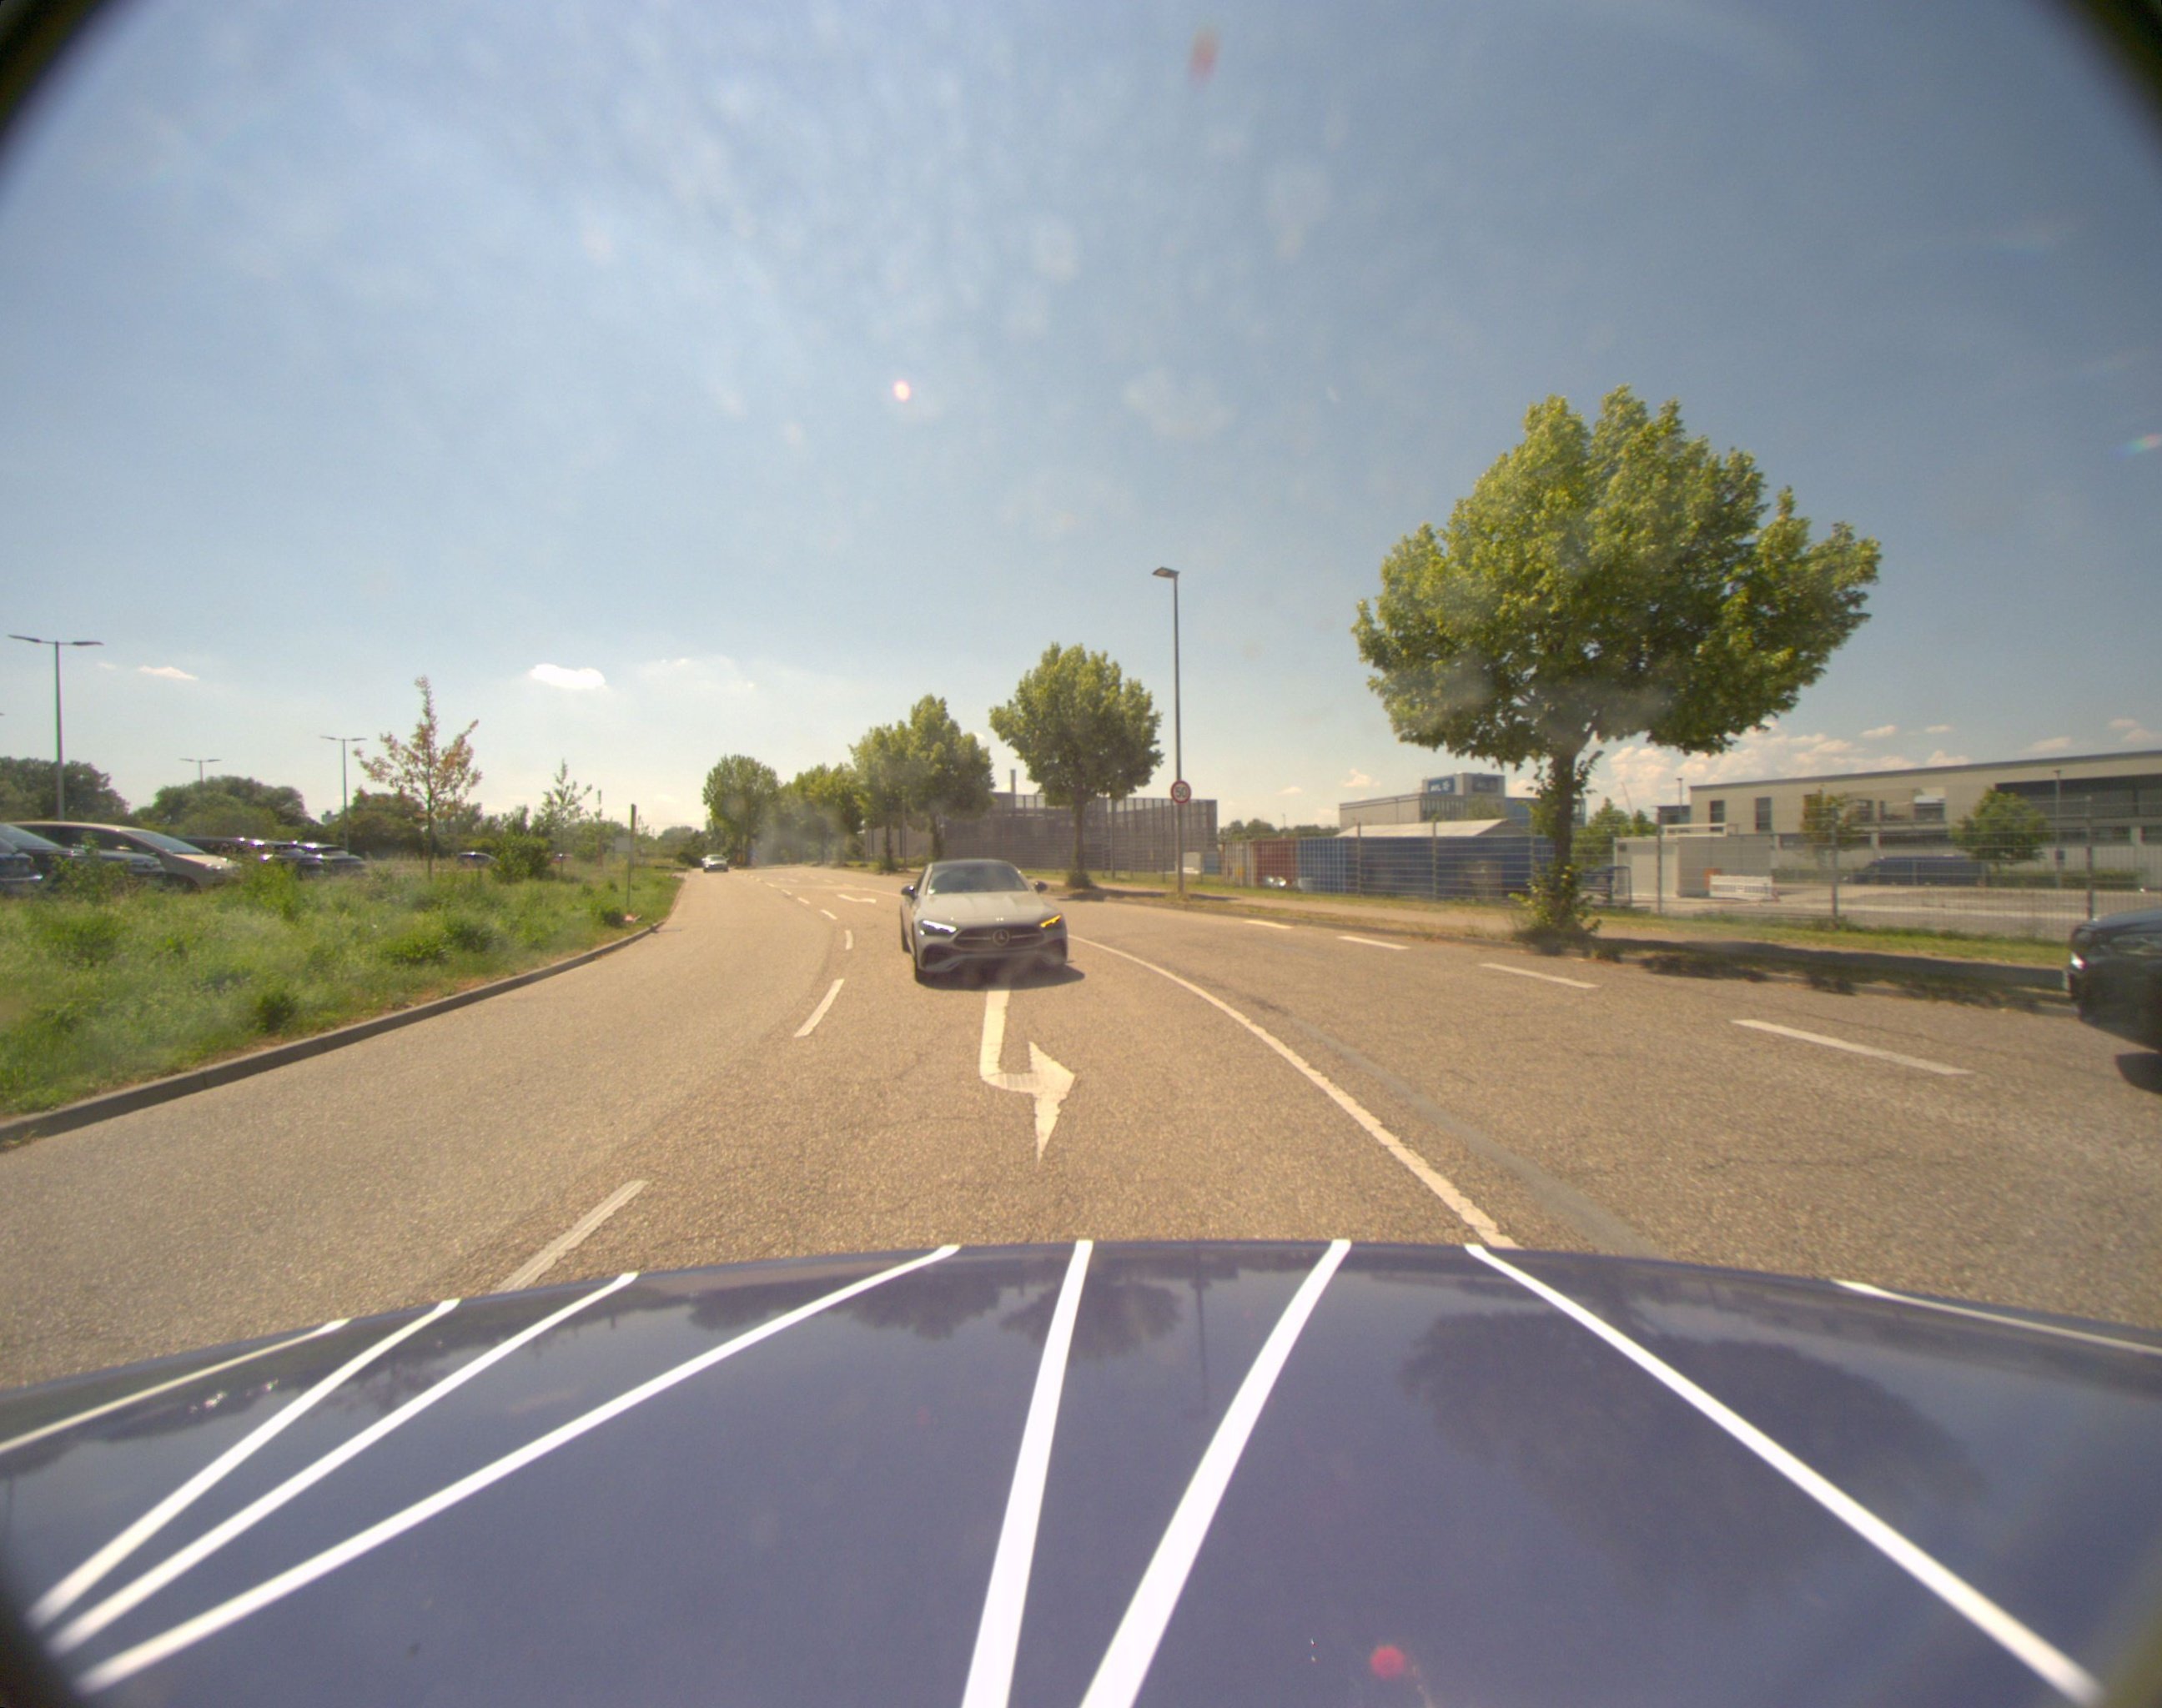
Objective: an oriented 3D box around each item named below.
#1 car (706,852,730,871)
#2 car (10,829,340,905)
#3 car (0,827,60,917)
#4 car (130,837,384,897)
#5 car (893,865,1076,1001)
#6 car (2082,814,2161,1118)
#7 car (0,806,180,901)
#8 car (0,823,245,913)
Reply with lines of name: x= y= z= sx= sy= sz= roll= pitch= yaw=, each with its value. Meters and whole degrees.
car: x=-29.788 y=0.590 z=62.309 sx=1.676 sy=1.367 sz=4.486 roll=-4 pitch=2 yaw=-26
car: x=-20.058 y=0.267 z=17.153 sx=4.409 sy=1.536 sz=1.811 roll=0 pitch=1 yaw=-28
car: x=-16.951 y=0.264 z=9.934 sx=3.953 sy=1.250 sz=1.581 roll=-1 pitch=3 yaw=-30
car: x=-21.190 y=0.267 z=19.821 sx=4.005 sy=1.284 sz=1.904 roll=-3 pitch=3 yaw=-26
car: x=-1.607 y=0.902 z=10.838 sx=1.900 sy=1.375 sz=4.626 roll=-2 pitch=1 yaw=-16
car: x=7.841 y=0.660 z=3.011 sx=1.874 sy=1.625 sz=4.586 roll=2 pitch=-1 yaw=-39
car: x=-18.012 y=0.086 z=12.242 sx=4.044 sy=1.422 sz=1.683 roll=-6 pitch=4 yaw=-29
car: x=-19.318 y=0.249 z=14.731 sx=3.856 sy=1.615 sz=1.613 roll=0 pitch=1 yaw=-30
